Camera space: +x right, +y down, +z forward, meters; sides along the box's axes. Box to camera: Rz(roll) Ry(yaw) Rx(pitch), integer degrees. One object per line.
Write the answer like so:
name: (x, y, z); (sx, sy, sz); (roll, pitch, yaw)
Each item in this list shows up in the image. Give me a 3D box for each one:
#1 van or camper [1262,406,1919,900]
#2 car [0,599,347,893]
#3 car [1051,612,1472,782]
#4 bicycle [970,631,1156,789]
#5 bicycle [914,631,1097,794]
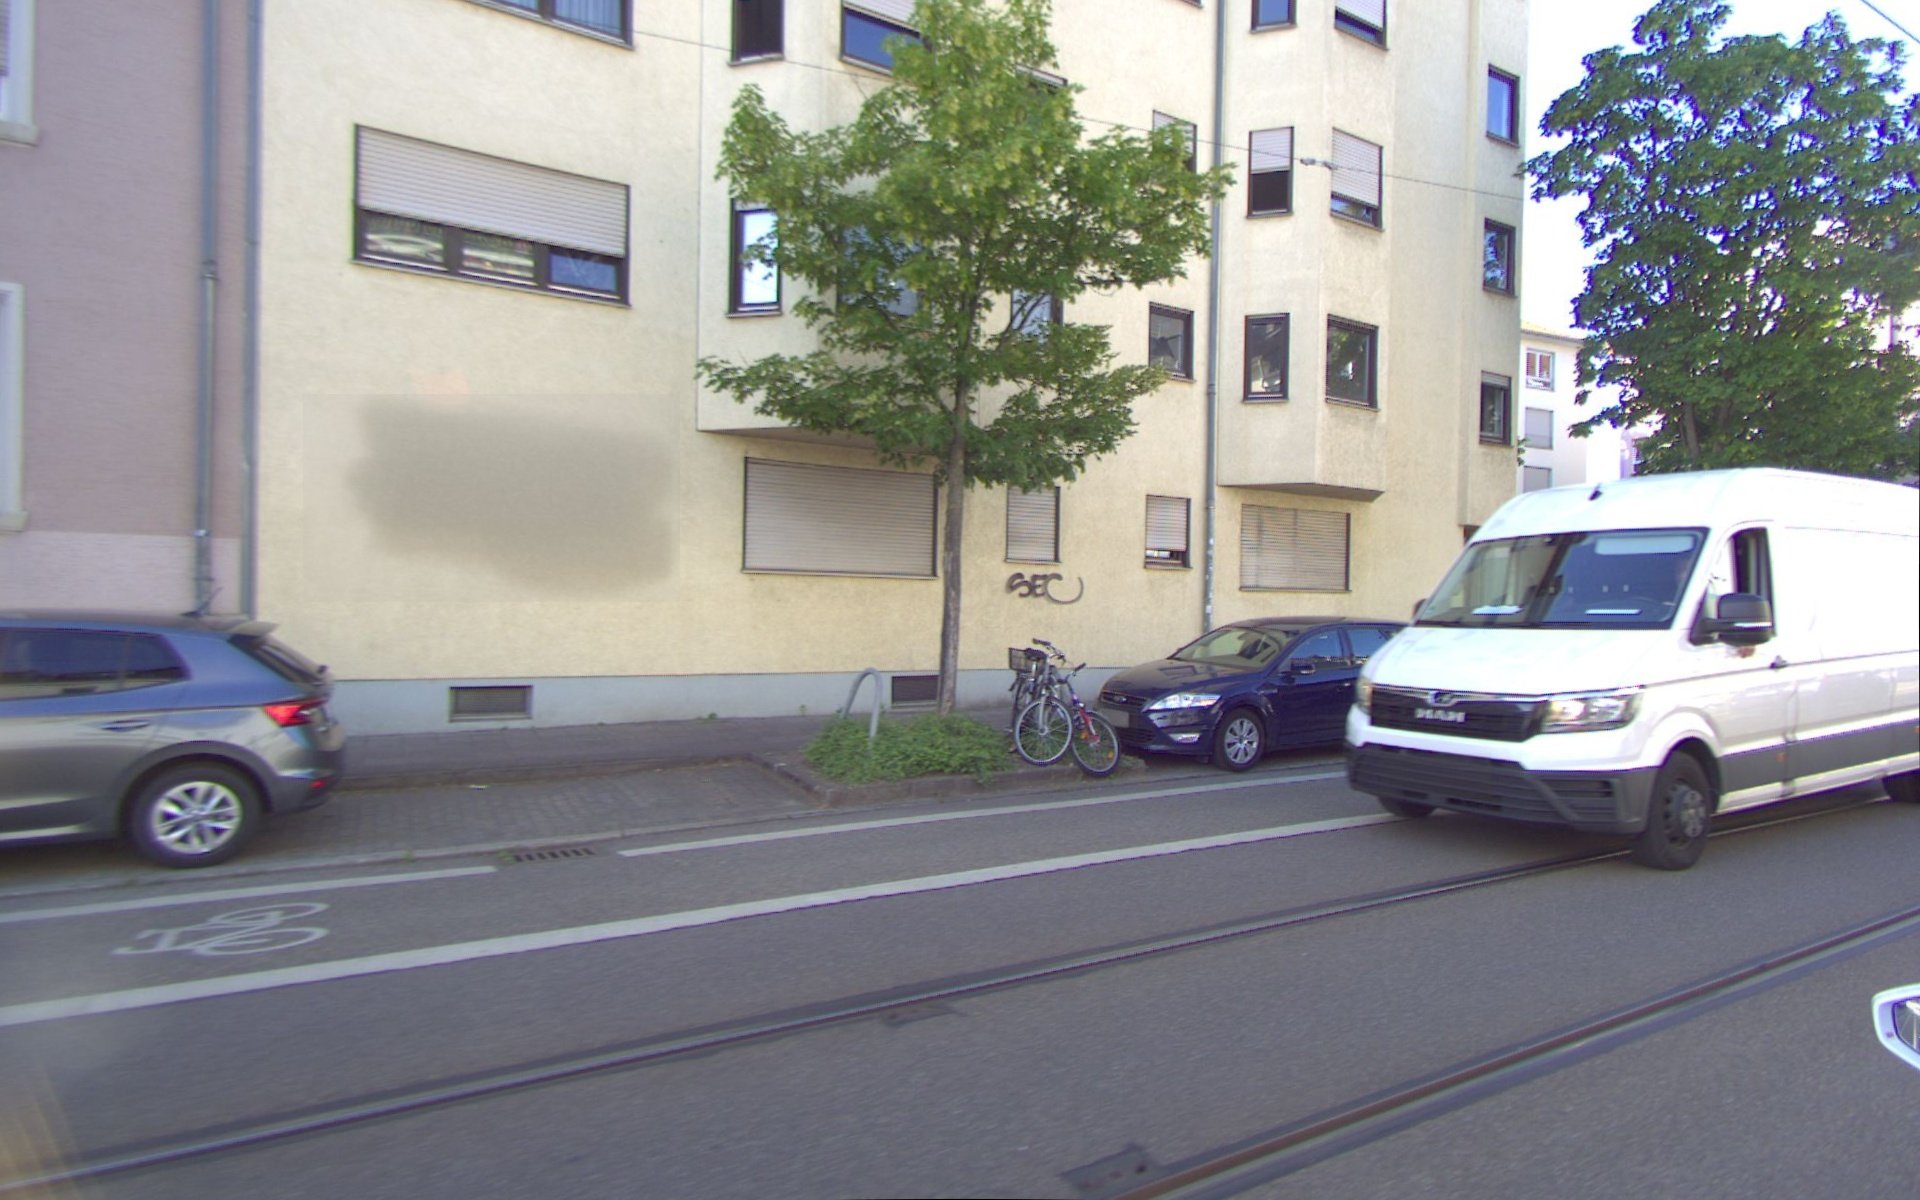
van or camper: (5.717, 0.335, 7.991); (6.753, 2.587, 2.359); (1, 0, -30)
car: (-5.981, 0.780, 5.900); (3.995, 1.493, 1.756); (1, 2, -31)
car: (3.453, 0.955, 11.253); (4.675, 1.563, 1.757); (1, 0, -29)
bicycle: (0.976, 1.033, 10.259); (0.691, 1.352, 2.282); (1, 0, -29)
bicycle: (0.372, 1.014, 9.897); (0.691, 1.352, 2.282); (1, 0, -29)
